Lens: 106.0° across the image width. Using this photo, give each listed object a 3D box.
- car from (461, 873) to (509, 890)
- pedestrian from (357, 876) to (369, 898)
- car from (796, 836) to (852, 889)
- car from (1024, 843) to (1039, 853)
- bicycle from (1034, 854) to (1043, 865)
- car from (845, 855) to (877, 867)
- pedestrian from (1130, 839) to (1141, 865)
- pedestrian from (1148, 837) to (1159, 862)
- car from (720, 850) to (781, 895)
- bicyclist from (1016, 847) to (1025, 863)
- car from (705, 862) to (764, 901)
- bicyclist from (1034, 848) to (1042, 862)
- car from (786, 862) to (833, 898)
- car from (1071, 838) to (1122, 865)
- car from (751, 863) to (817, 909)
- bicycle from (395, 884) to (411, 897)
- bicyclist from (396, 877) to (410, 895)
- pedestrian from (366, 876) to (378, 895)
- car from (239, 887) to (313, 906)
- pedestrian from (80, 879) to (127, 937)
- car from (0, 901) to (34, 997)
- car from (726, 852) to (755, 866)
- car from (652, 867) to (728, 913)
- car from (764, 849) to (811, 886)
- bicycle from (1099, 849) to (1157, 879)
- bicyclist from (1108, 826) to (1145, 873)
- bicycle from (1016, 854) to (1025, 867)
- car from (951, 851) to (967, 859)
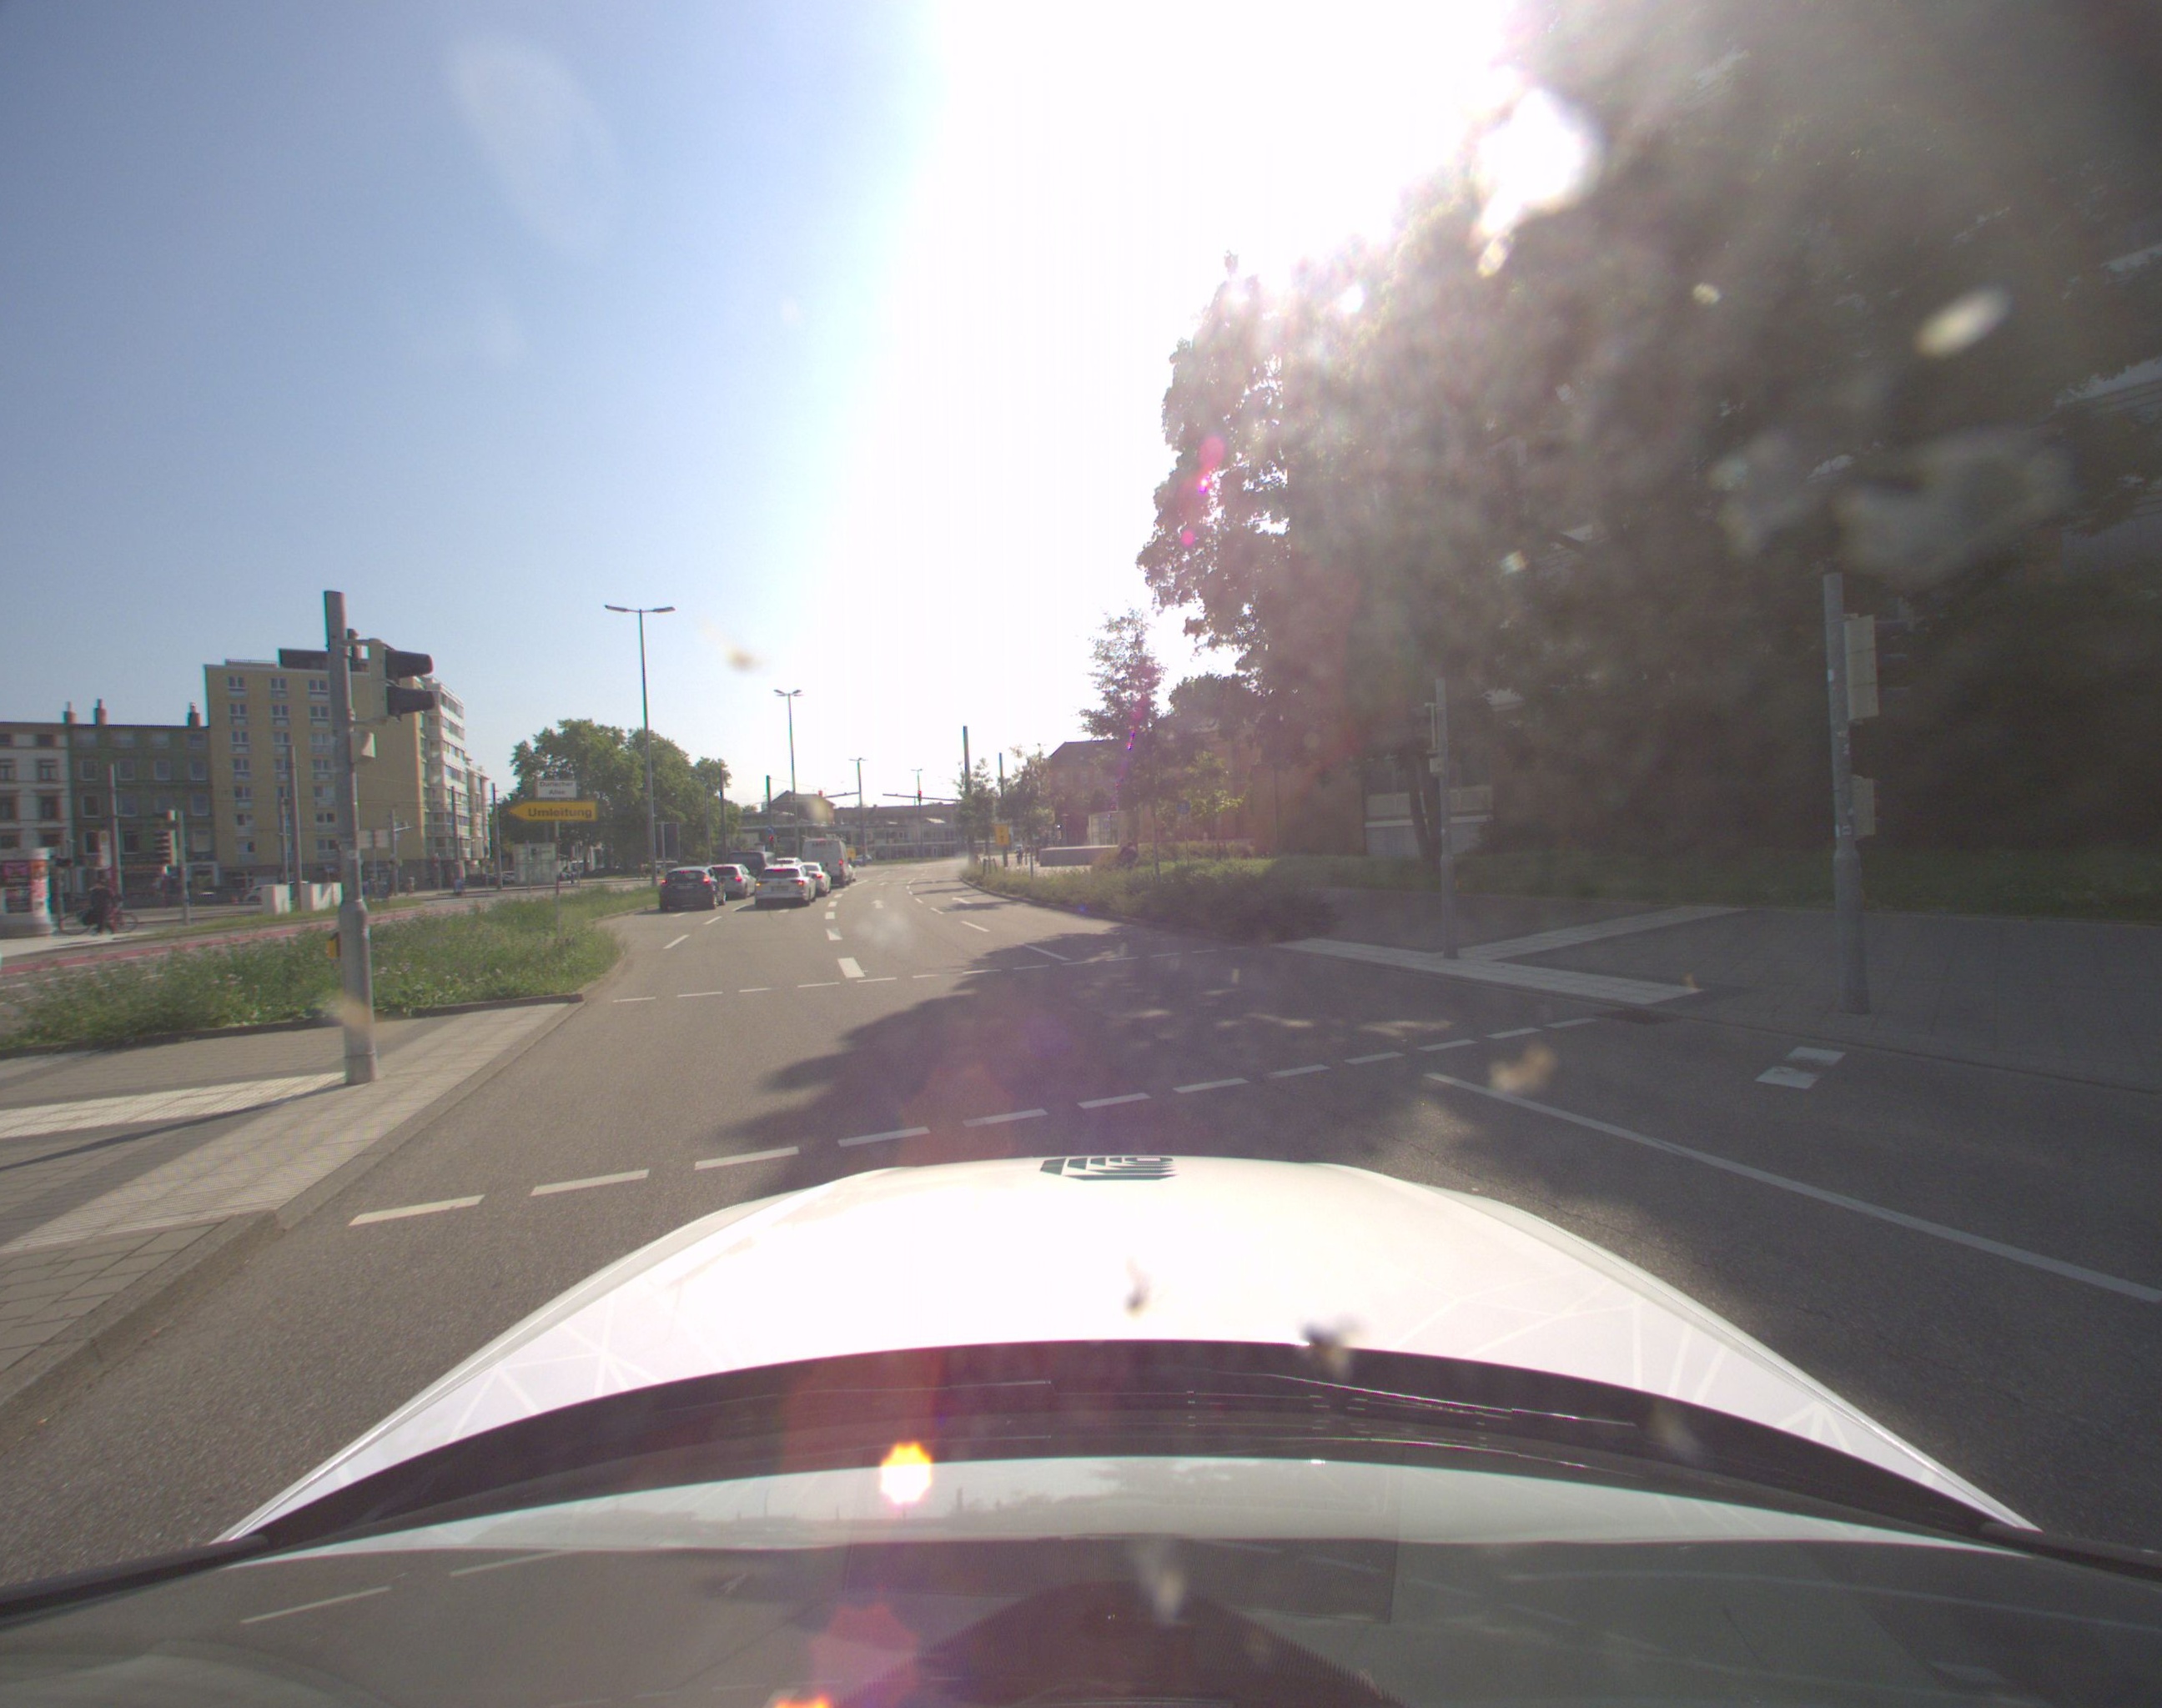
[{"bbox_3d":[-66.362,3.039,90.799,4.009,1.557,1.853,-3,3,-27],"label":"car"},{"bbox_3d":[-56.604,2.587,64.218,0.455,1.684,0.544,-2,2,-15],"label":"pedestrian"},{"bbox_3d":[-13.466,0.443,42.951,2.190,2.549,4.665,-2,0,-11],"label":"car"},{"bbox_3d":[-10.703,-1.413,176.391,2.402,2.013,4.783,-3,1,3],"label":"car"},{"bbox_3d":[-4.215,0.528,80.583,0.704,1.061,1.982,-3,0,0],"label":"bicycle"},{"bbox_3d":[-29.506,0.916,109.258,3.979,1.342,1.917,-3,1,-20],"label":"car"},{"bbox_3d":[3.548,-0.155,53.105,0.611,1.638,0.535,-3,0,6],"label":"pedestrian"},{"bbox_3d":[4.995,-0.307,56.039,0.614,1.628,0.532,-3,0,-10],"label":"pedestrian"},{"bbox_3d":[-16.492,0.881,40.833,2.026,2.008,4.663,-2,0,-13],"label":"car"},{"bbox_3d":[-5.669,0.087,76.357,0.710,1.529,0.806,-3,0,-1],"label":"bicyclist"},{"bbox_3d":[-14.371,1.107,33.954,1.490,1.415,3.633,-2,1,-11],"label":"car"},{"bbox_3d":[-4.237,0.076,80.602,0.704,1.394,0.829,-3,0,-1],"label":"bicyclist"},{"bbox_3d":[-11.435,1.063,34.442,1.491,1.403,3.924,-2,0,-14],"label":"car"},{"bbox_3d":[1.329,-0.239,68.797,4.016,2.013,1.736,-3,3,-33],"label":"car"},{"bbox_3d":[-10.163,1.048,28.103,1.687,1.387,3.617,-2,0,-14],"label":"car"},{"bbox_3d":[-54.751,2.960,65.757,0.732,0.984,1.714,-3,0,-31],"label":"bicycle"},{"bbox_3d":[-54.772,2.589,65.769,0.730,1.434,0.683,-3,0,-31],"label":"bicyclist"},{"bbox_3d":[-56.925,2.548,65.368,0.435,1.487,0.502,0,3,24],"label":"pedestrian"},{"bbox_3d":[-63.583,3.359,64.387,3.847,1.180,1.563,-3,-2,-24],"label":"car"},{"bbox_3d":[-31.745,1.734,26.463,0.865,1.778,0.853,1,3,43],"label":"pedestrian"},{"bbox_3d":[-15.632,1.377,9.578,1.849,1.361,4.783,-3,0,-22],"label":"car"},{"bbox_3d":[-54.505,0.830,130.454,3.996,2.013,1.989,-2,3,-17],"label":"car"},{"bbox_3d":[-13.292,1.174,27.869,1.705,1.368,3.940,-2,0,-17],"label":"car"},{"bbox_3d":[-17.677,0.781,49.293,2.026,2.008,4.662,-2,0,-13],"label":"car"},{"bbox_3d":[1.611,0.346,28.217,0.778,0.976,2.126,-3,1,-37],"label":"bicycle"},{"bbox_3d":[1.584,-0.163,28.218,0.778,1.578,0.979,-3,1,-37],"label":"bicyclist"},{"bbox_3d":[-5.651,0.601,76.324,0.704,1.061,1.982,-3,0,0],"label":"bicycle"},{"bbox_3d":[-23.976,0.239,160.017,1.981,1.442,4.011,-3,1,10],"label":"car"}]
